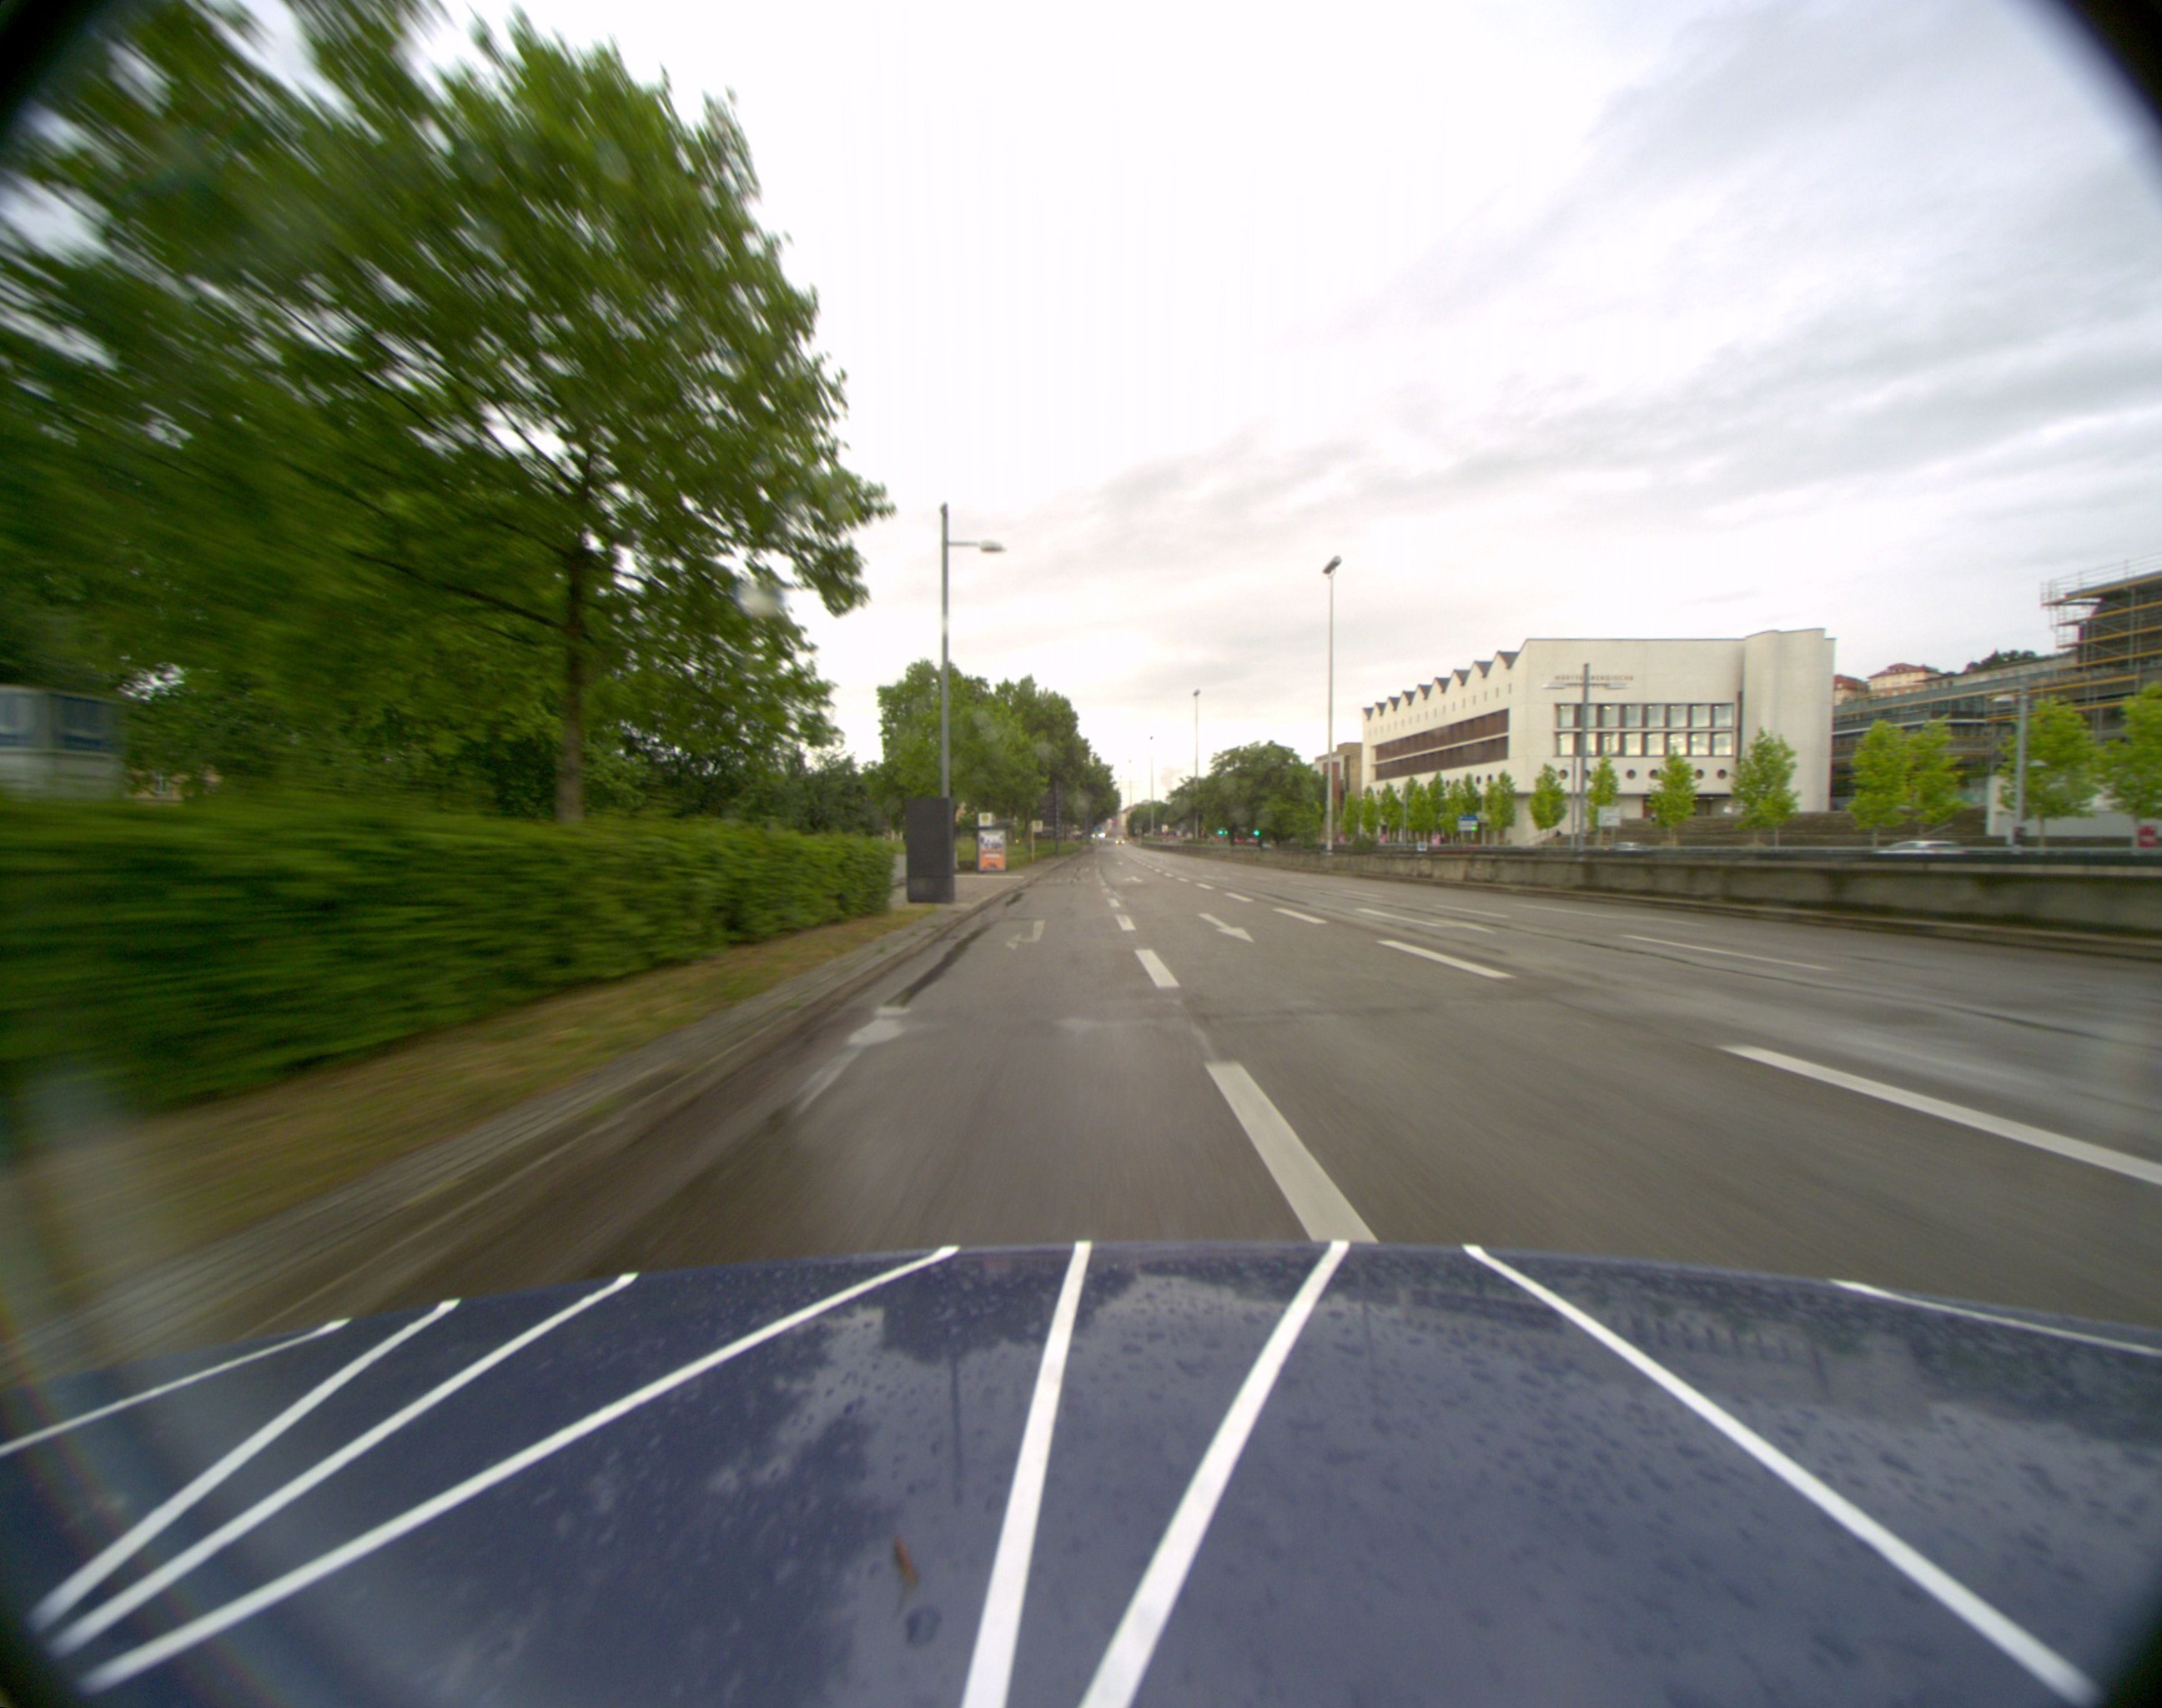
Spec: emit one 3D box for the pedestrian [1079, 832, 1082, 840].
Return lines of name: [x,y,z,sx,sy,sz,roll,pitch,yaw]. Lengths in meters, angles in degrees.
pedestrian: [-0.130,-4.088,173.445,0.595,1.764,0.586,-2,2,-7]

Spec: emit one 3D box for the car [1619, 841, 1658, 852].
car: [39.654,-0.548,54.086,0.821,0.741,2.552,-1,2,-3]

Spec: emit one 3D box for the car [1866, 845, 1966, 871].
car: [40.182,0.152,36.641,1.444,1.108,3.019,-1,2,-1]

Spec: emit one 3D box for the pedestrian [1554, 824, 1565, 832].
pedestrian: [55.803,-3.014,88.596,0.808,0.882,0.628,-1,2,2]

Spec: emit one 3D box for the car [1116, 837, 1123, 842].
car: [9.207,-3.492,179.983,1.517,1.138,2.760,-1,2,4]

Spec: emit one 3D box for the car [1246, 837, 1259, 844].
car: [32.214,-2.513,142.763,1.569,1.220,3.541,-1,2,2]

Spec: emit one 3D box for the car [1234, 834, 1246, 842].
car: [33.684,-3.430,160.745,1.698,1.547,3.474,-1,2,-2]

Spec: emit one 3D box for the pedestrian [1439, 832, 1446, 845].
pedestrian: [51.221,-2.172,107.658,0.738,1.848,0.703,1,3,43]
